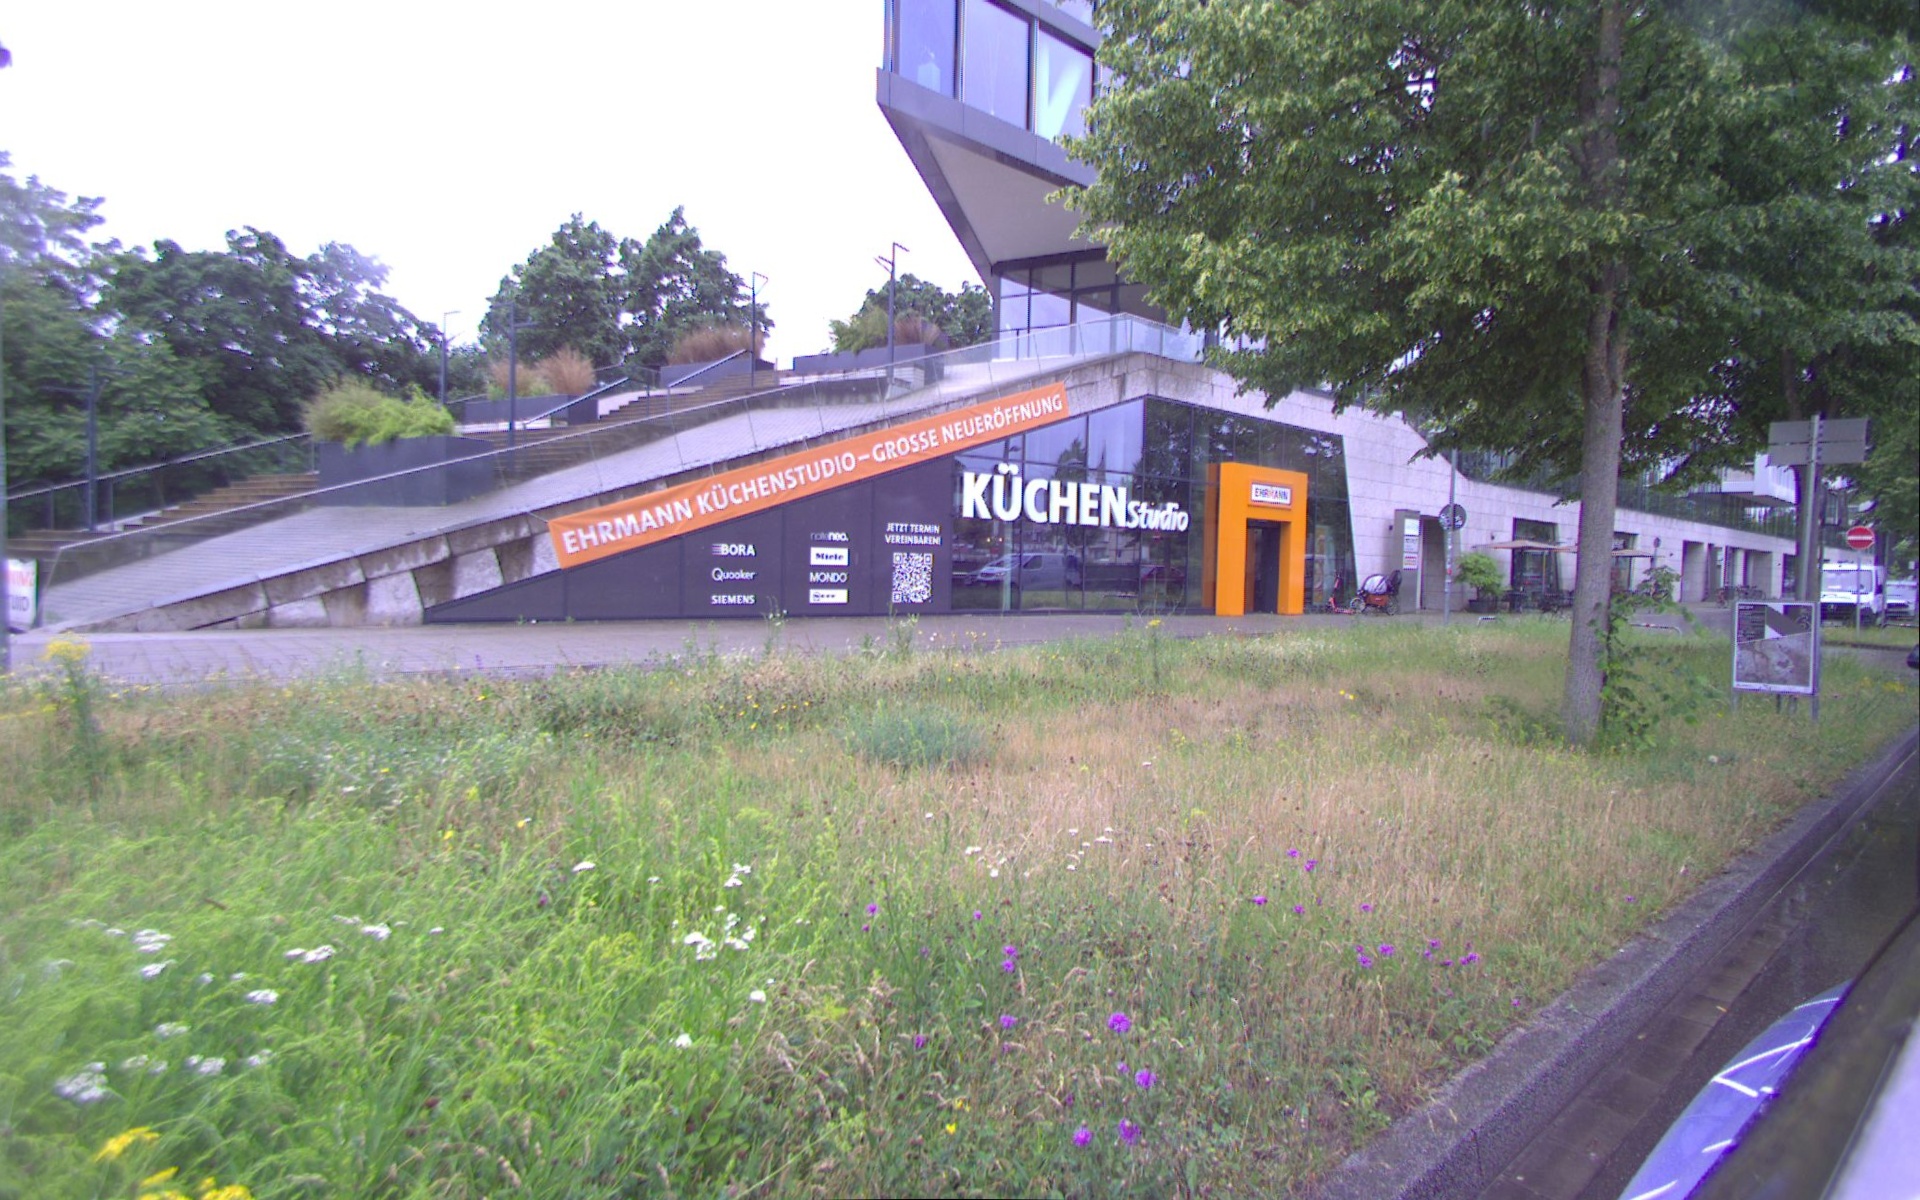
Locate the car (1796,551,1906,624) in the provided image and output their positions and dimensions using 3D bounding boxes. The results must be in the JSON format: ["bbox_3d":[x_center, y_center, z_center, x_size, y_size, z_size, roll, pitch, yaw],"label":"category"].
[{"bbox_3d":[29.650,-0.414,33.635,5.008,2.229,2.083,-1,0,-41],"label":"car"}]

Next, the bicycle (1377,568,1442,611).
[{"bbox_3d":[14.557,-0.344,32.739,2.650,1.364,0.882,-1,0,-41],"label":"bicycle"}]

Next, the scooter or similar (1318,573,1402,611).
[{"bbox_3d":[12.239,-0.256,30.970,2.560,1.113,0.814,0,0,-23],"label":"scooter or similar"}]

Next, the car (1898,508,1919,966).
[{"bbox_3d":[5.921,0.568,4.648,4.306,1.769,1.915,1,-1,-41],"label":"car"}]
